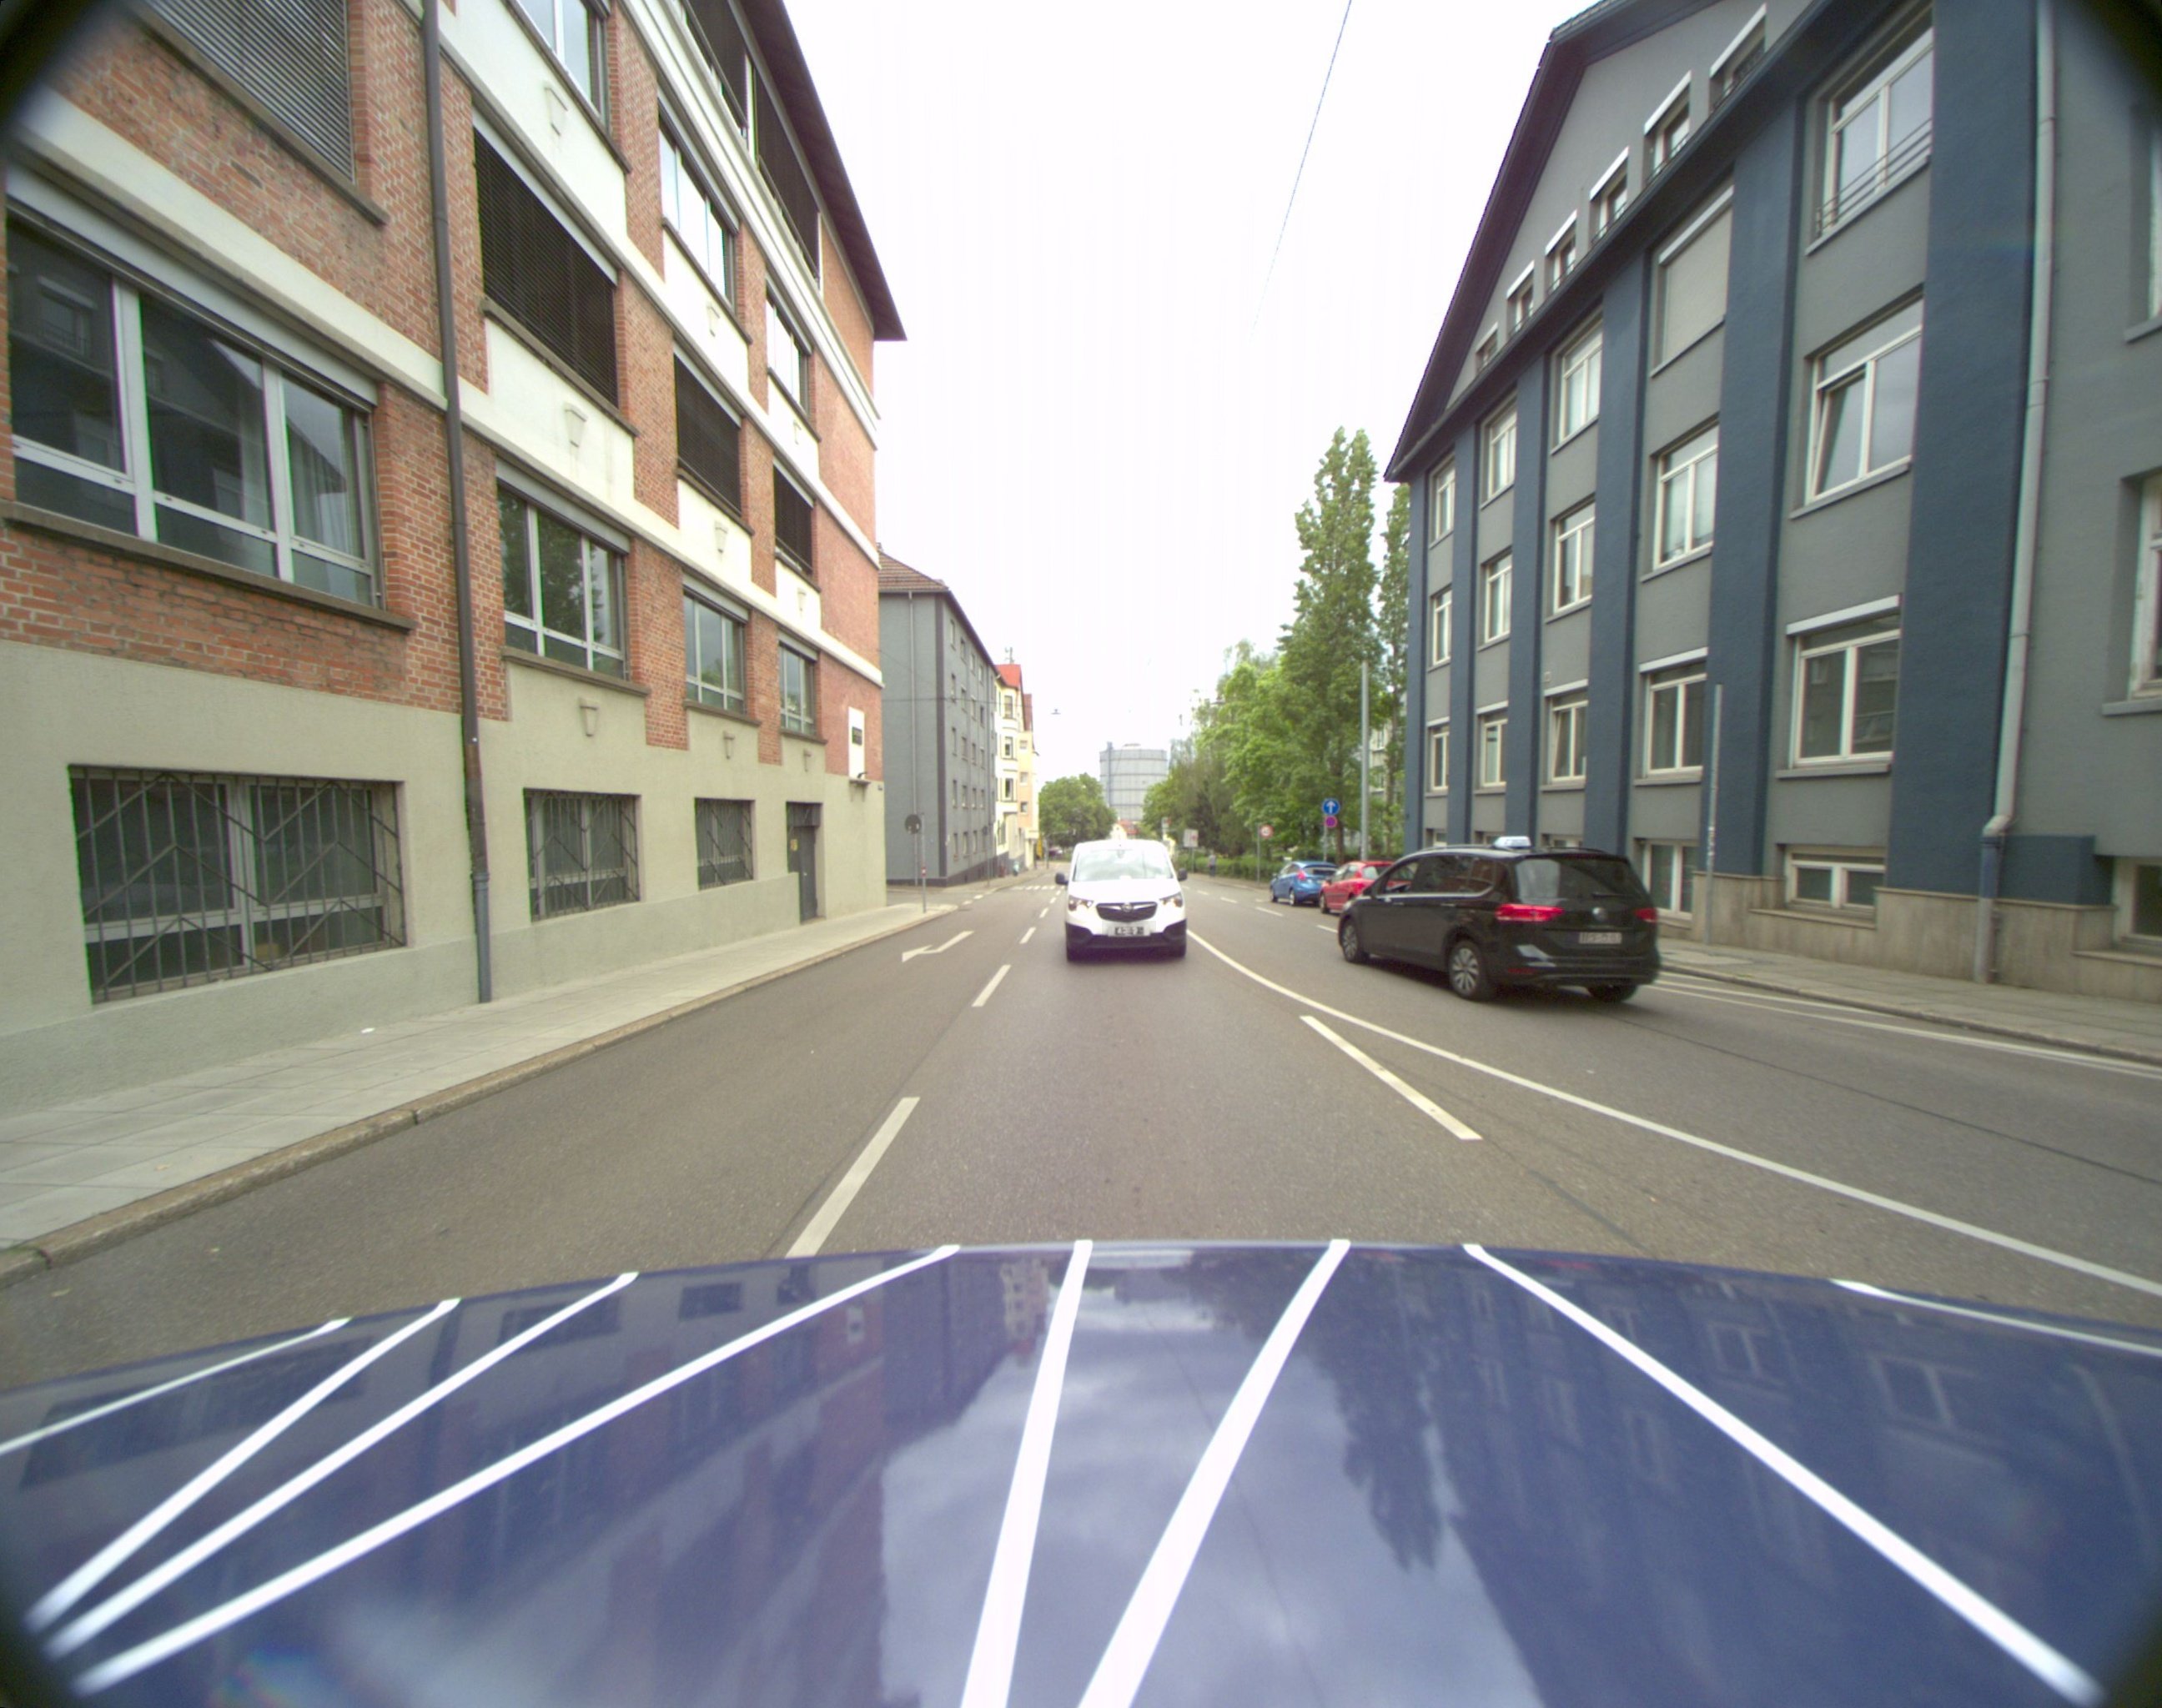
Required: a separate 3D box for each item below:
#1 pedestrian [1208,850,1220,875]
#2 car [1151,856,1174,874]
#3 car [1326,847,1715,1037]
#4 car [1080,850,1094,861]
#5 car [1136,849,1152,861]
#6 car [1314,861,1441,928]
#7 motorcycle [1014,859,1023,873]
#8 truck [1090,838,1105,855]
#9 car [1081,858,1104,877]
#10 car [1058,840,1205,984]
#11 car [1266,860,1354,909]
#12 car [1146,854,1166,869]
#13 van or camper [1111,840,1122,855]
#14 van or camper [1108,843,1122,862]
[{"bbox_3d":[9.896,0.606,56.706,0.746,1.839,0.776,-1,1,2],"label":"pedestrian"},{"bbox_3d":[7.211,0.935,67.606,1.724,1.475,3.727,1,0,2],"label":"car"},{"bbox_3d":[4.730,0.802,9.085,1.789,1.697,4.304,2,1,-6],"label":"car"},{"bbox_3d":[0.823,0.152,103.785,1.724,1.486,3.727,1,0,2],"label":"car"},{"bbox_3d":[7.906,0.097,95.235,1.724,1.408,3.727,1,0,2],"label":"car"},{"bbox_3d":[7.464,0.954,19.543,1.819,1.465,3.869,2,0,2],"label":"car"},{"bbox_3d":[-5.228,1.003,63.649,0.566,1.105,1.653,4,0,2],"label":"motorcycle"},{"bbox_3d":[3.453,-1.530,159.937,2.980,3.394,9.358,-2,0,1],"label":"truck"},{"bbox_3d":[0.967,1.053,60.421,1.724,1.486,3.727,1,0,2],"label":"car"},{"bbox_3d":[0.700,0.742,12.294,1.840,1.797,4.939,-2,0,1],"label":"car"},{"bbox_3d":[7.436,0.937,25.044,1.724,1.445,3.727,1,0,0],"label":"car"},{"bbox_3d":[7.376,0.741,75.284,1.724,1.408,3.727,1,0,2],"label":"car"},{"bbox_3d":[6.712,-1.257,144.865,1.914,2.754,5.925,1,0,2],"label":"van or camper"},{"bbox_3d":[5.109,-0.229,115.122,1.914,2.754,5.925,1,0,2],"label":"van or camper"}]
